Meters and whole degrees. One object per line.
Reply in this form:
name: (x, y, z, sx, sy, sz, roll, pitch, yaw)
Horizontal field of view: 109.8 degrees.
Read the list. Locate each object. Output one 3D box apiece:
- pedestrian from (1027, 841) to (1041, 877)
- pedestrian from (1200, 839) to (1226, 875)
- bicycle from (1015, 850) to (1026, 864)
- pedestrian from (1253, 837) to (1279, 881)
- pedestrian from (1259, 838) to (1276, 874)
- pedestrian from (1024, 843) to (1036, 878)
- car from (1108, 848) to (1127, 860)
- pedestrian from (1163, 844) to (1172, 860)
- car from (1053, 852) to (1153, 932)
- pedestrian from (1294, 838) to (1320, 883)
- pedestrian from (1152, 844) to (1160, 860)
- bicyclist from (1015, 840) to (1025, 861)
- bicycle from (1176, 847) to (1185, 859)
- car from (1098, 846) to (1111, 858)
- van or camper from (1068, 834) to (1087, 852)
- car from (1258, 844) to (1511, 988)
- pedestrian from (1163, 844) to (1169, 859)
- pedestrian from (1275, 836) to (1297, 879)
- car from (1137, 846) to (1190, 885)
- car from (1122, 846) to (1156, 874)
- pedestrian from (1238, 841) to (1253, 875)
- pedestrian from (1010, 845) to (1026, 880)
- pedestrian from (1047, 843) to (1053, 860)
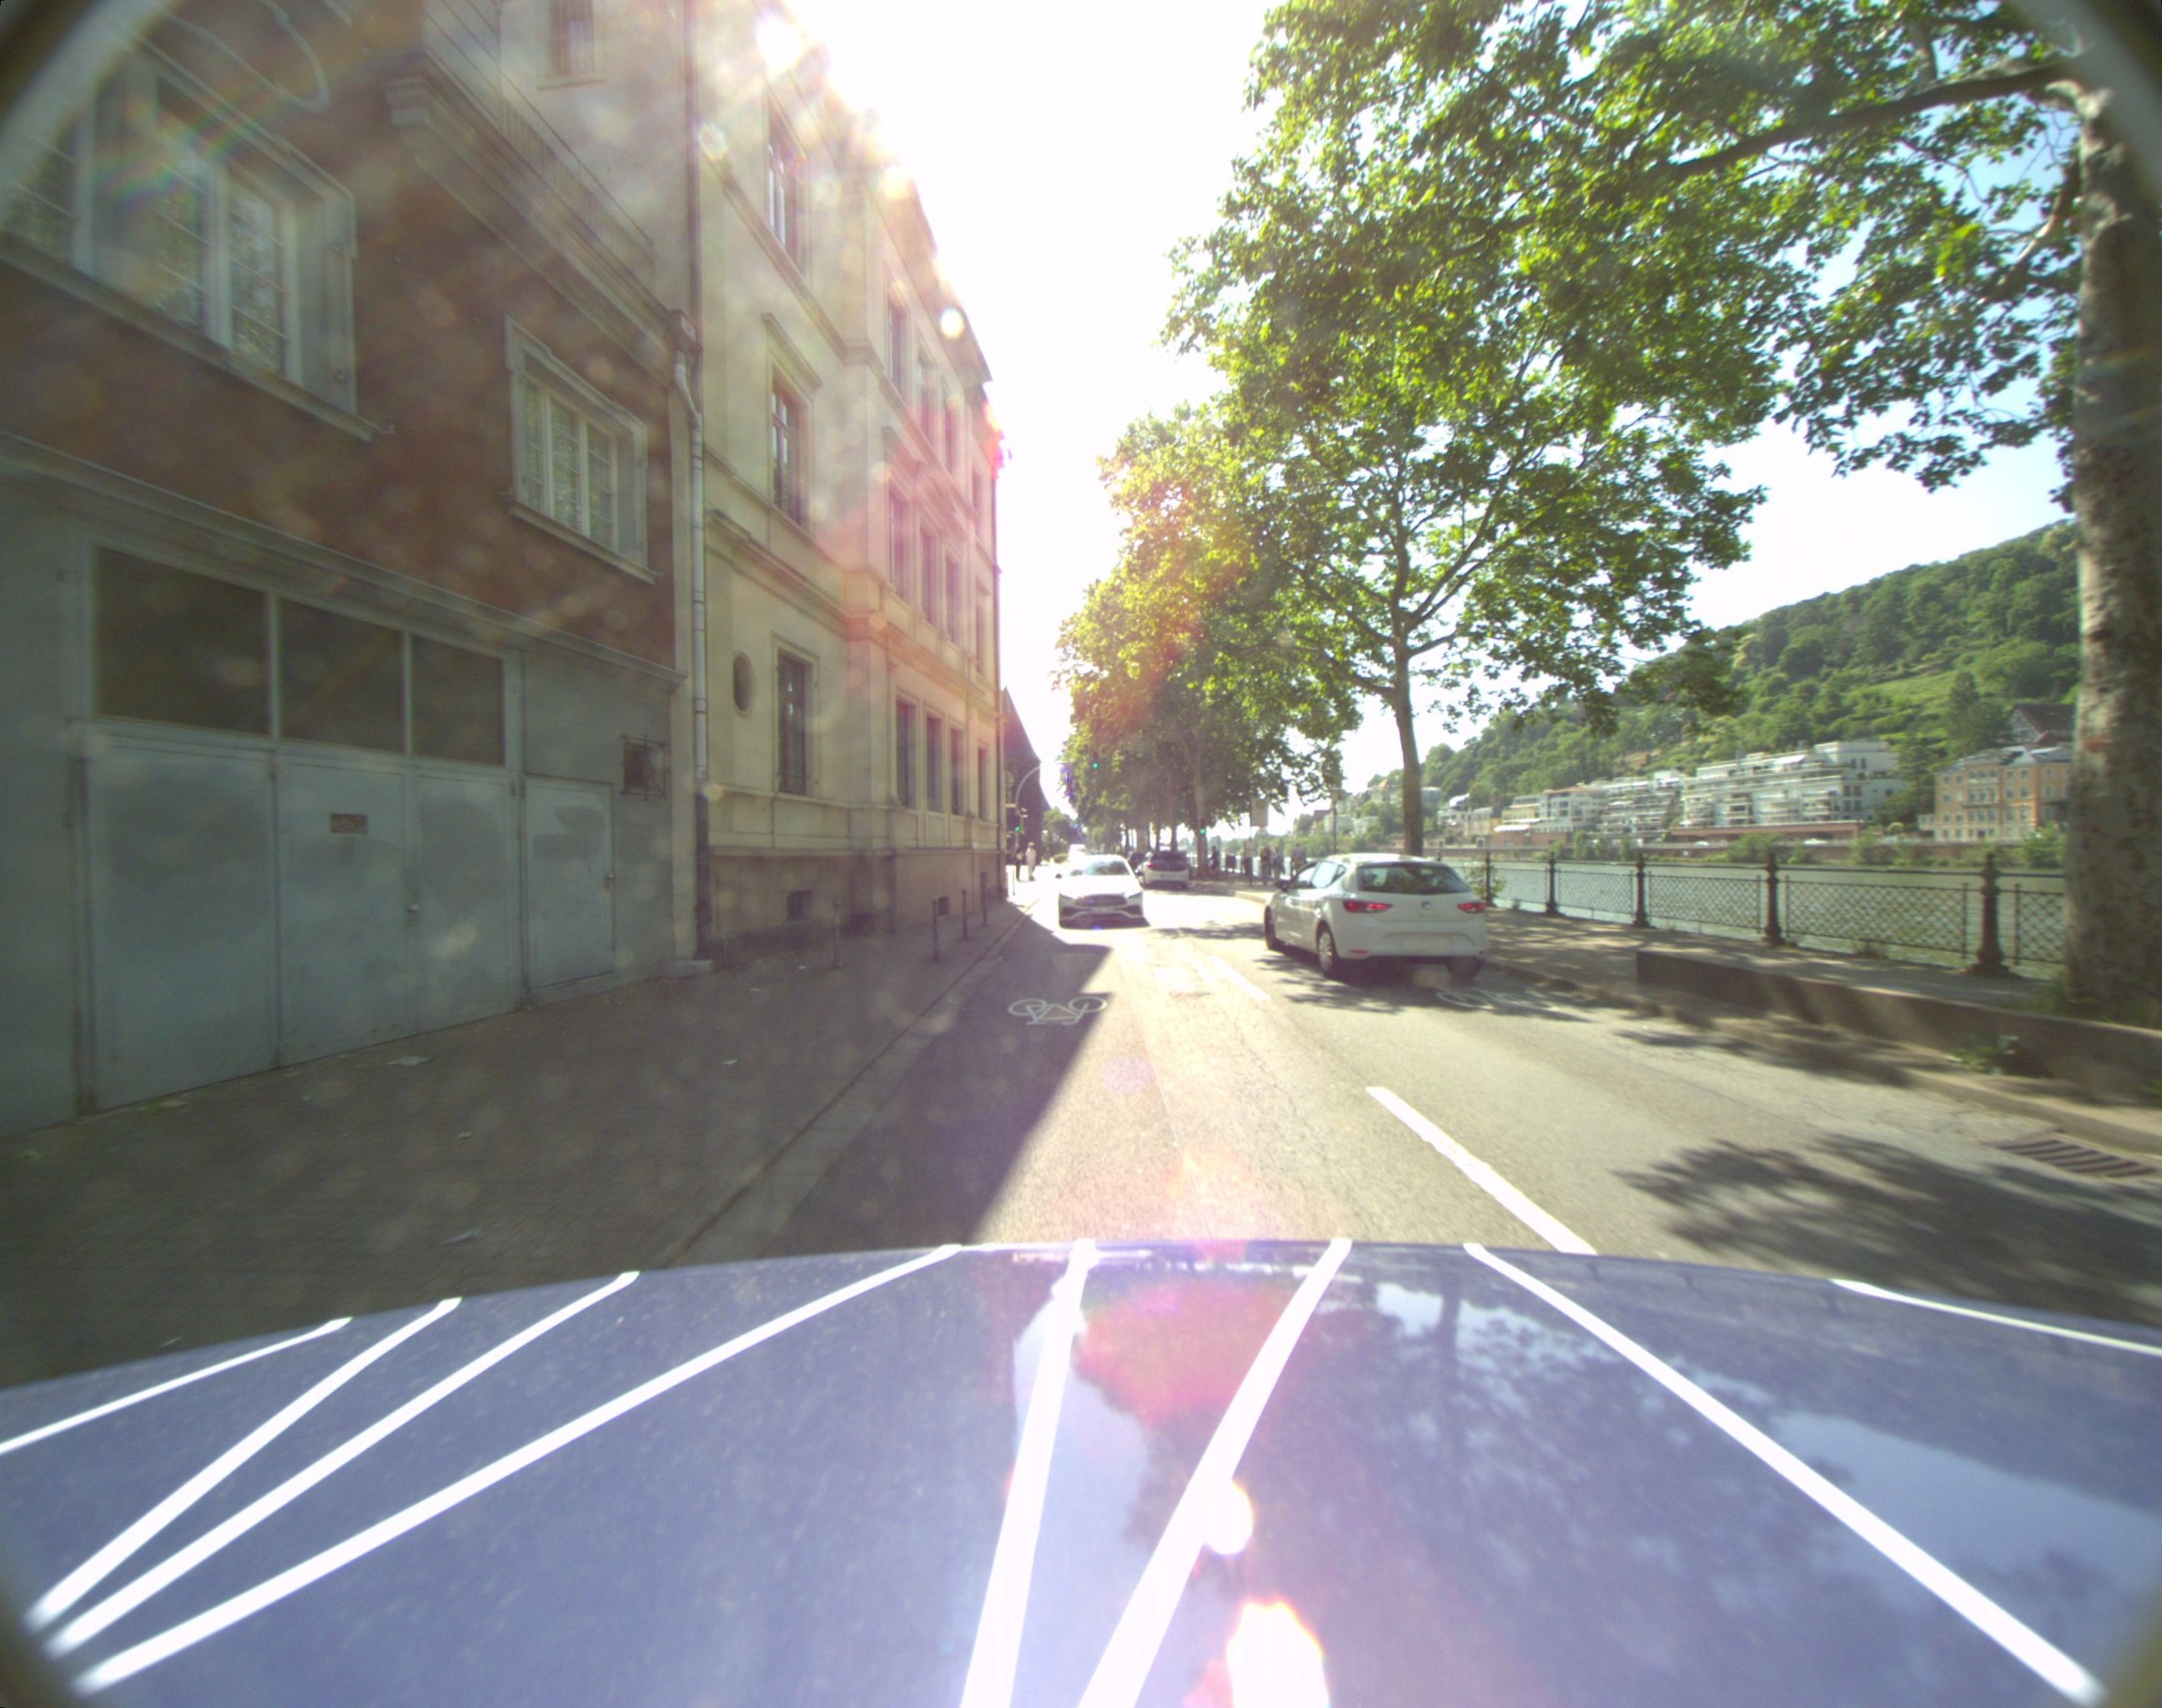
pedestrian: (-2.371, 0.247, 38.469, 0.618, 1.841, 0.730, -1, 1, 0)
pedestrian: (6.557, 0.160, 37.744, 1.022, 1.763, 0.770, 0, 2, 40)
bicycle: (-4.806, 0.224, 60.196, 0.691, 1.123, 2.007, -1, 1, -8)
pedestrian: (7.349, 0.204, 30.252, 0.837, 1.704, 0.782, -1, 1, -1)
pedestrian: (9.188, 0.093, 37.411, 0.620, 1.690, 0.695, -2, 1, -1)
pedestrian: (-2.528, 0.327, 37.836, 0.528, 1.702, 0.665, -1, 1, -1)
car: (4.096, -0.019, 86.811, 1.845, 1.262, 4.261, 2, 1, -1)
pedestrian: (9.399, -0.244, 82.402, 0.793, 1.674, 0.709, -1, 1, -1)
car: (0.430, 0.720, 16.823, 1.875, 1.416, 4.744, -1, 1, 0)
pedestrian: (9.034, 0.244, 30.379, 0.713, 1.754, 0.972, -1, 1, -1)
pedestrian: (8.186, -0.210, 83.387, 0.760, 1.720, 0.729, -1, 1, -1)
bicyclist: (-4.801, -0.249, 59.994, 0.711, 1.619, 0.886, -1, 1, -8)
bicycle: (9.579, -0.118, 73.497, 0.564, 1.146, 1.844, -3, 1, 0)
car: (3.367, -0.304, 108.796, 1.705, 1.509, 4.404, -1, 1, 1)
van or camper: (-0.497, -1.469, 101.686, 2.437, 2.271, 6.202, -1, 1, -1)
car: (3.635, 0.663, 9.959, 1.705, 1.436, 4.092, -2, 0, 1)
pedestrian: (9.176, -0.259, 82.133, 0.633, 1.618, 0.552, -1, 1, -1)
pedestrian: (8.218, 0.136, 30.444, 0.654, 1.704, 0.793, 0, 1, -1)
car: (3.368, 0.421, 31.582, 1.739, 1.509, 4.404, 0, 1, 0)
car: (3.357, 0.284, 44.659, 1.705, 1.509, 4.404, 1, 1, 1)
pedestrian: (8.025, 0.195, 37.164, 0.495, 1.608, 0.991, -1, 1, -1)
pedestrian: (-3.041, 0.418, 36.871, 0.717, 1.666, 0.682, -1, 1, -1)
pedestrian: (-3.540, -0.309, 86.007, 0.556, 1.844, 1.023, -1, 1, 0)
